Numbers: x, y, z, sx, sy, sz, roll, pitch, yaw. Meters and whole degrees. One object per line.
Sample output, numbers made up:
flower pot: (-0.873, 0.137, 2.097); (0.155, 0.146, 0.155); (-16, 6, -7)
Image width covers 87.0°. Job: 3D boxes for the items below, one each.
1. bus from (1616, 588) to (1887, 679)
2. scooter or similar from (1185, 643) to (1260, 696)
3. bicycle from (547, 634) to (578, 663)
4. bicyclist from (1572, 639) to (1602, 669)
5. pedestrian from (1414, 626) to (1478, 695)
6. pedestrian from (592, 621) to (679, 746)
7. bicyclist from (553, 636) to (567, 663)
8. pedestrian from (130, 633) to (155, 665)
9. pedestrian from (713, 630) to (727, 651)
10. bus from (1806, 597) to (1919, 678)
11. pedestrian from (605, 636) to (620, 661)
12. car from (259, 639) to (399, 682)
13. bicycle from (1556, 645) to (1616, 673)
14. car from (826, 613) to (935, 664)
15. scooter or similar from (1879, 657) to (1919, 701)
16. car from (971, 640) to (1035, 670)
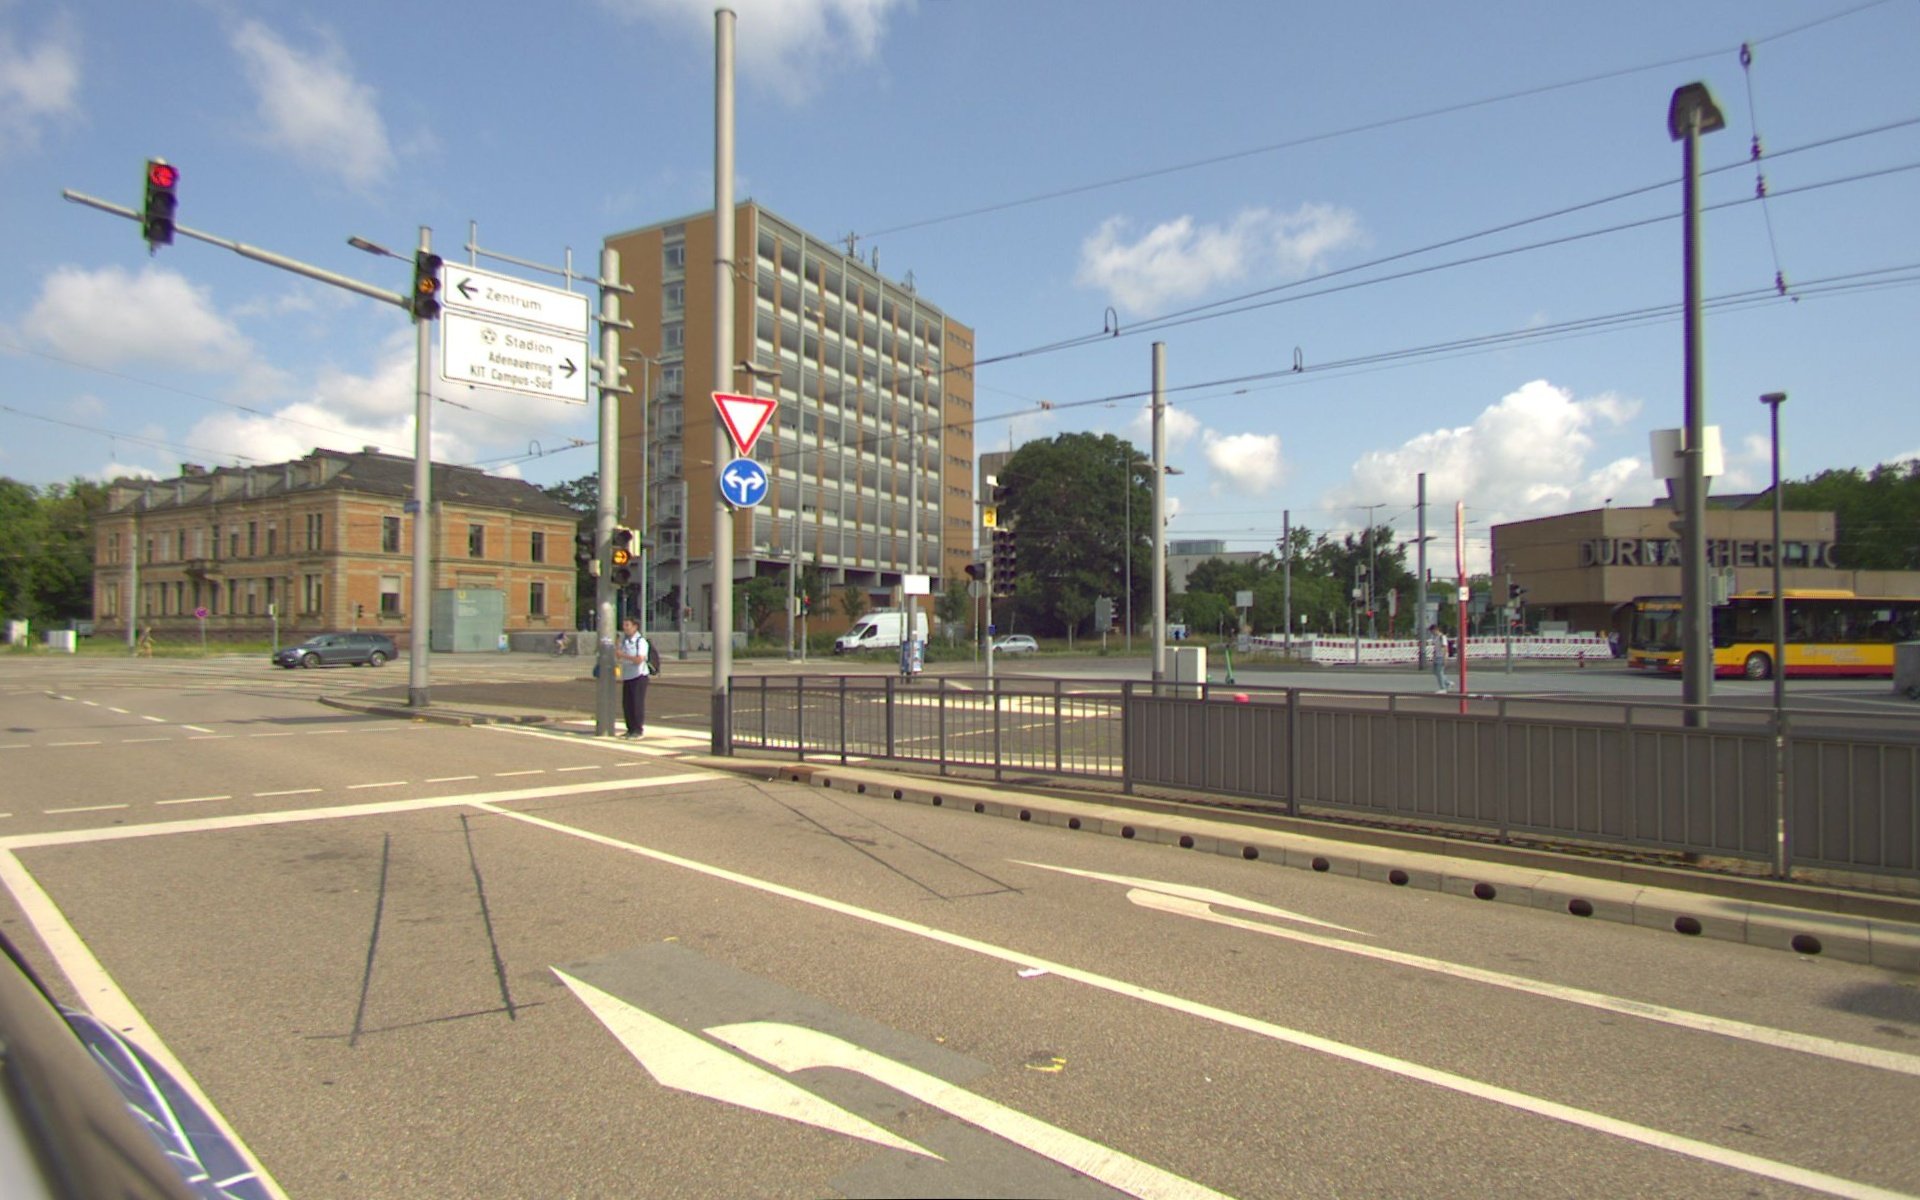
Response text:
bus: (26.066, 1.124, 33.515); (6.992, 2.855, 2.703); (0, -2, -5)
scooter or similar: (7.091, 1.853, 27.351); (1.495, 1.198, 1.319); (4, 3, 43)
bicycle: (-24.346, 2.954, 61.976); (1.612, 1.791, 0.732); (0, -2, -4)
bicyclist: (26.543, 2.288, 42.843); (0.727, 1.161, 0.698); (4, 2, -7)
pedestrian: (12.427, 1.536, 25.902); (1.080, 1.702, 0.931); (-1, -1, -7)
pedestrian: (-4.565, 1.152, 14.260); (0.794, 1.686, 0.834); (-1, -3, 39)
bicyclist: (-24.469, 3.030, 61.951); (0.646, 1.683, 0.574); (0, -2, -3)
pedestrian: (-45.578, 2.731, 56.447); (0.855, 1.750, 0.777); (-1, -2, 27)
pedestrian: (-18.083, 3.046, 76.163); (0.925, 1.600, 0.765); (0, -2, -3)
bus: (32.046, 1.257, 34.023); (5.000, 2.607, 2.705); (0, -2, -5)
pedestrian: (-22.359, 3.122, 65.116); (0.752, 1.600, 0.775); (2, -2, -27)
car: (-25.761, 2.433, 41.473); (1.994, 1.290, 4.494); (3, 3, 33)
bicycle: (26.479, 2.502, 42.836); (2.038, 1.000, 0.814); (4, 2, -7)
car: (-4.668, 2.270, 59.885); (6.048, 2.901, 2.492); (2, -3, -36)
scooter or similar: (21.760, 1.780, 22.789); (0.466, 0.957, 1.665); (0, -2, -4)
car: (3.020, 3.867, 71.233); (4.072, 1.785, 2.005); (0, 3, -36)
